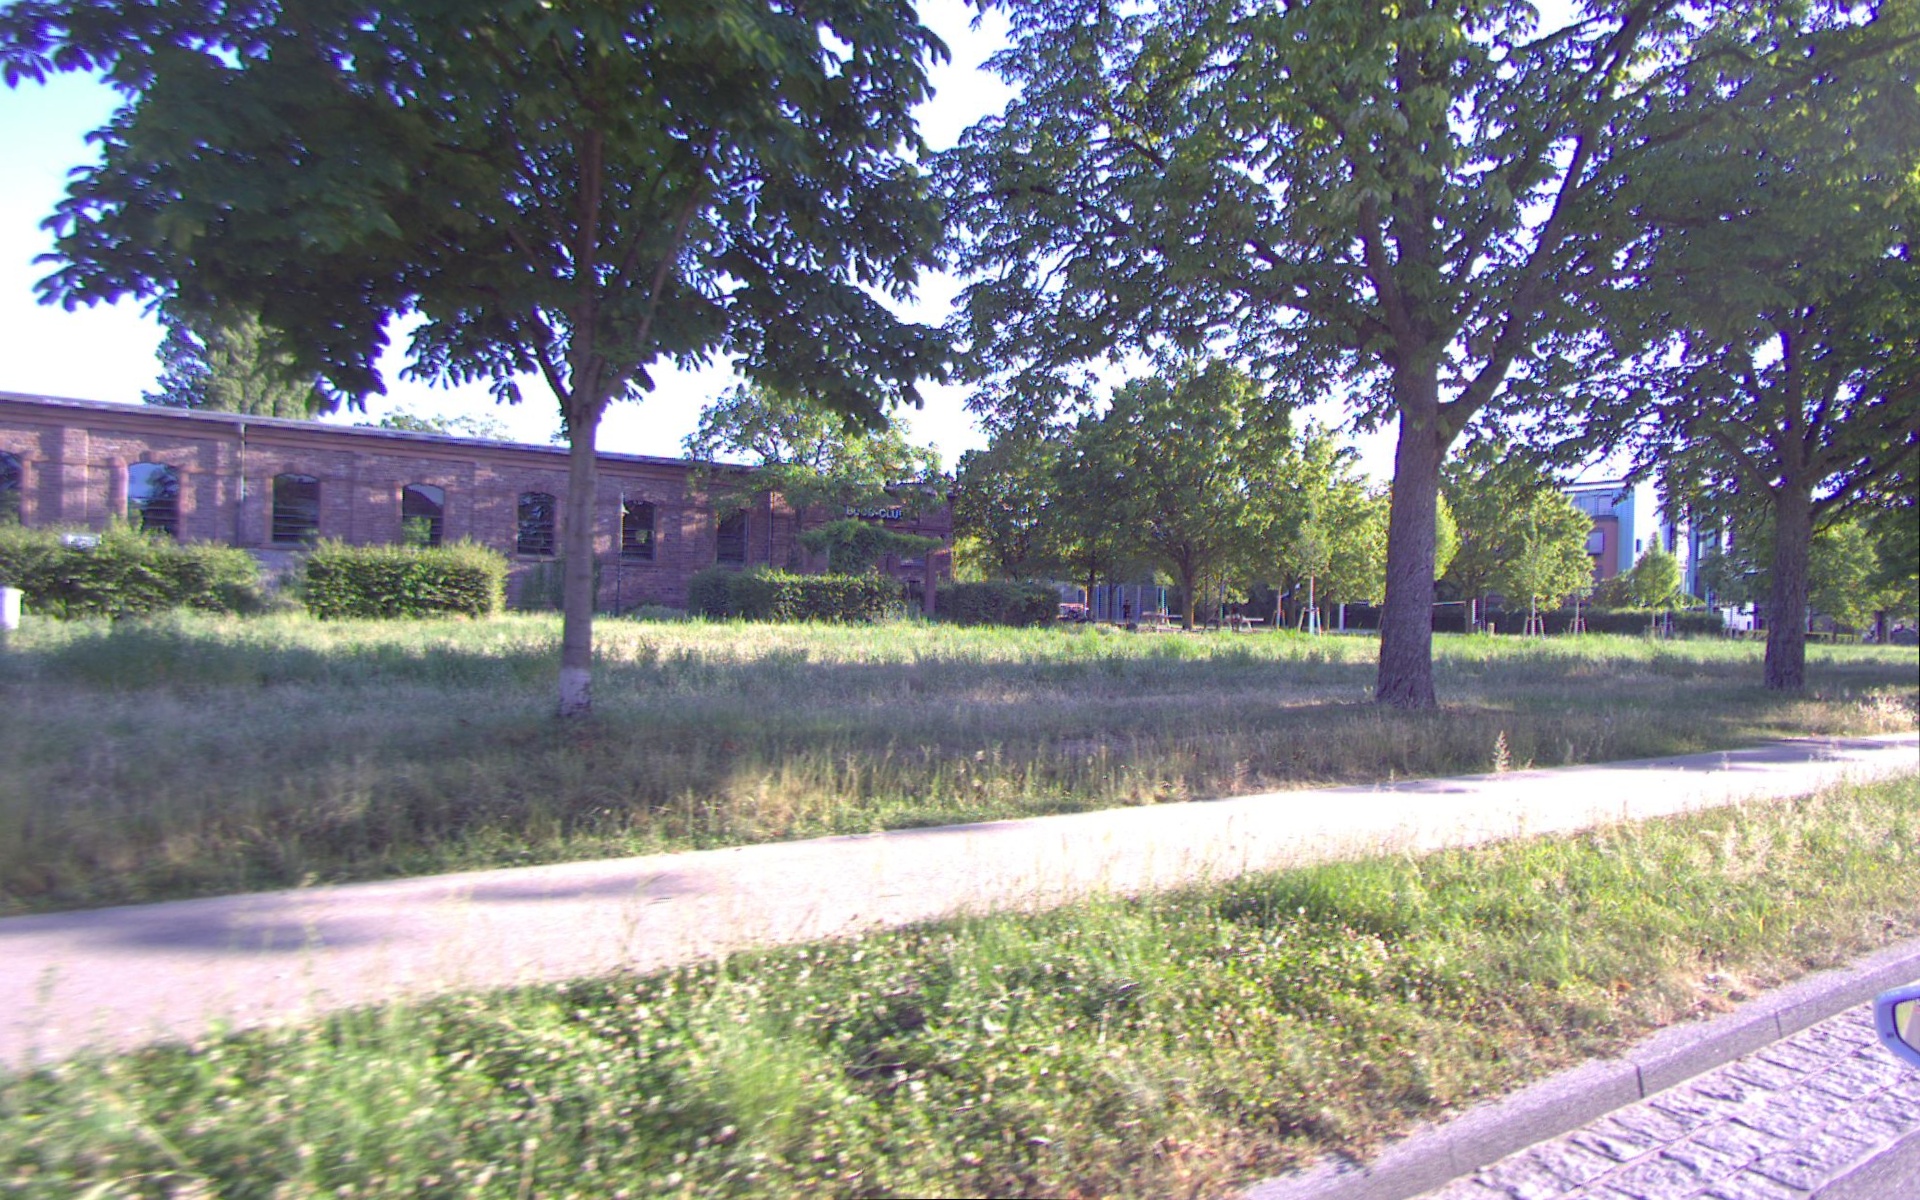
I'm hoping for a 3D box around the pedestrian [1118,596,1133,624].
[{"bbox_3d":[9.006,0.537,54.610,0.497,1.498,0.583,2,0,-39],"label":"pedestrian"}]

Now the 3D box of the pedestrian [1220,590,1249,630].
[{"bbox_3d":[13.613,0.500,49.824,0.787,1.906,1.044,2,0,-27],"label":"pedestrian"}]
